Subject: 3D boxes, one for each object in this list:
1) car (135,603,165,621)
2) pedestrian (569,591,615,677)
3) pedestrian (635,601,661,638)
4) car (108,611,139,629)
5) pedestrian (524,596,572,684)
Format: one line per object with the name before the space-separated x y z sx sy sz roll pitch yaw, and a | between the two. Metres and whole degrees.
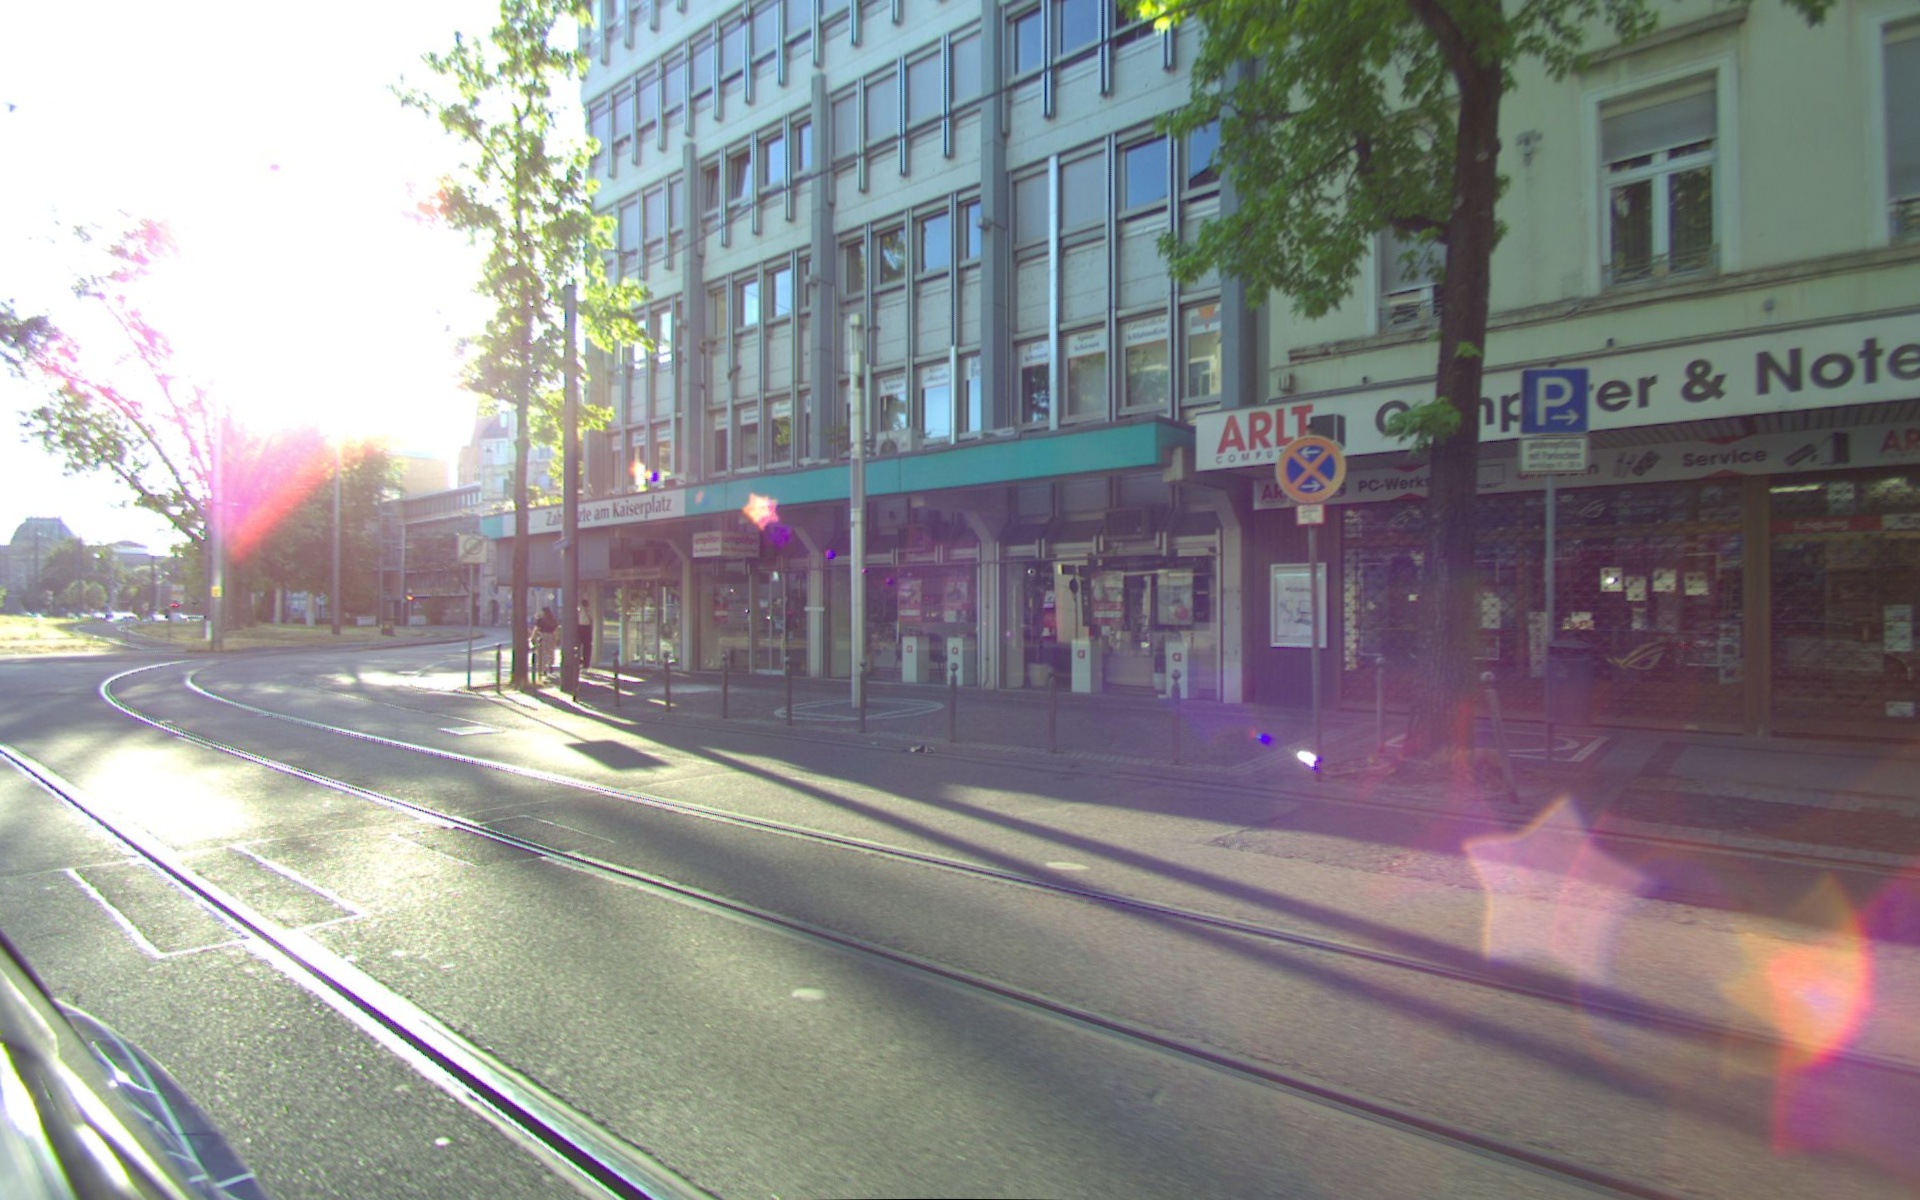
car | -90.562 1.328 113.168 3.999 2.029 1.972 0 1 42
pedestrian | -8.902 0.806 24.483 0.734 2.029 0.788 0 1 42
pedestrian | -14.652 0.907 47.463 0.892 1.715 1.166 -1 0 -32
car | -100.239 2.353 121.256 4.543 2.028 1.974 0 1 39
pedestrian | -9.749 0.923 23.947 0.734 2.029 0.788 0 1 42
